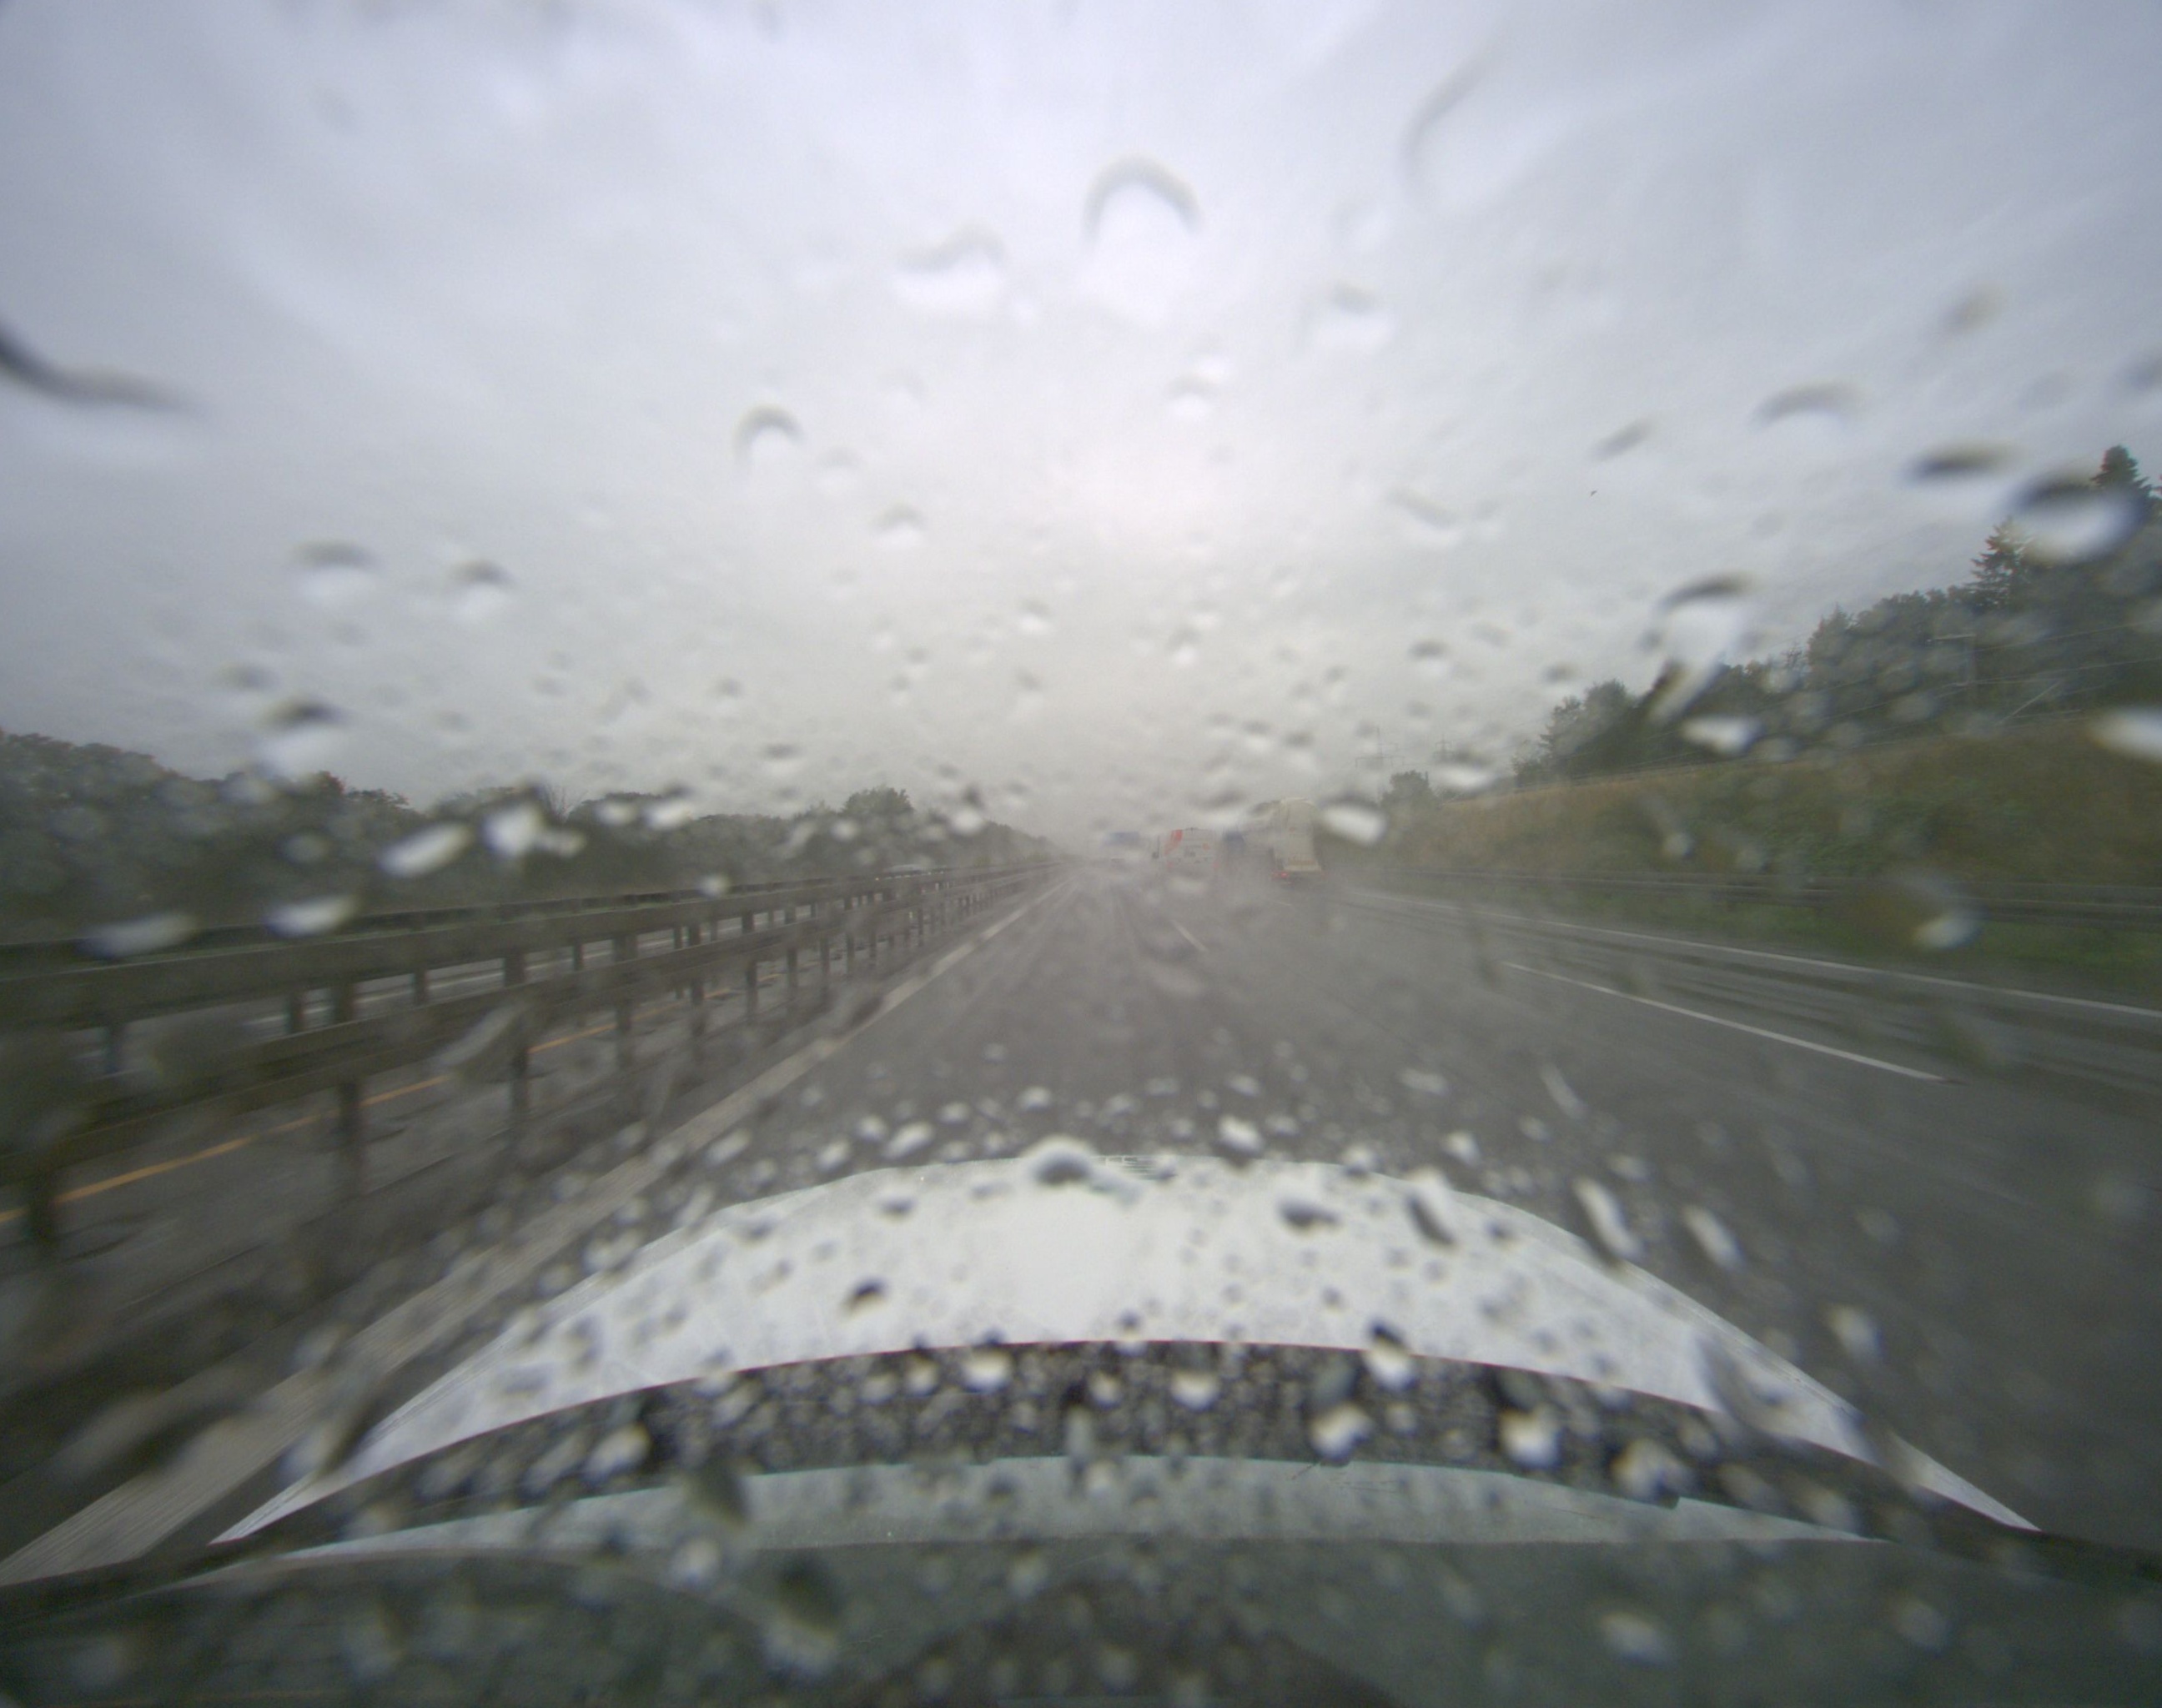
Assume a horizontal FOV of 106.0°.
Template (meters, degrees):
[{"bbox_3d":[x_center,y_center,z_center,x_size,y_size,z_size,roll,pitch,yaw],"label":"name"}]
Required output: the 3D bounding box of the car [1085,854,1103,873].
[{"bbox_3d":[1.289,0.889,79.098,1.695,1.818,3.863,0,0,2],"label":"car"}]

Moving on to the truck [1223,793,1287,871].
[{"bbox_3d":[9.336,-1.139,44.166,2.488,3.983,5.076,0,0,1],"label":"truck"}]

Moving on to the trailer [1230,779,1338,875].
[{"bbox_3d":[9.279,-1.118,38.630,2.488,3.882,11.067,0,0,1],"label":"trailer"}]

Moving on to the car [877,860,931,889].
[{"bbox_3d":[-10.008,1.132,46.421,1.986,1.434,4.649,0,1,1],"label":"car"}]

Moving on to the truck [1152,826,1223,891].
[{"bbox_3d":[4.311,0.167,33.906,2.410,2.492,5.562,0,0,2],"label":"truck"}]

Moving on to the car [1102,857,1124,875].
[{"bbox_3d":[2.434,0.896,62.596,1.600,1.338,3.849,0,0,1],"label":"car"}]

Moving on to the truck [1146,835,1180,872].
[{"bbox_3d":[10.888,0.056,109.325,3.029,4.588,16.349,0,-1,1],"label":"truck"}]

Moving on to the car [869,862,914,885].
[{"bbox_3d":[-13.401,1.353,57.901,1.986,1.512,4.648,0,0,1],"label":"car"}]

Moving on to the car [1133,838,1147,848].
[{"bbox_3d":[12.276,-2.300,169.564,2.778,2.013,4.994,0,0,1],"label":"car"}]
